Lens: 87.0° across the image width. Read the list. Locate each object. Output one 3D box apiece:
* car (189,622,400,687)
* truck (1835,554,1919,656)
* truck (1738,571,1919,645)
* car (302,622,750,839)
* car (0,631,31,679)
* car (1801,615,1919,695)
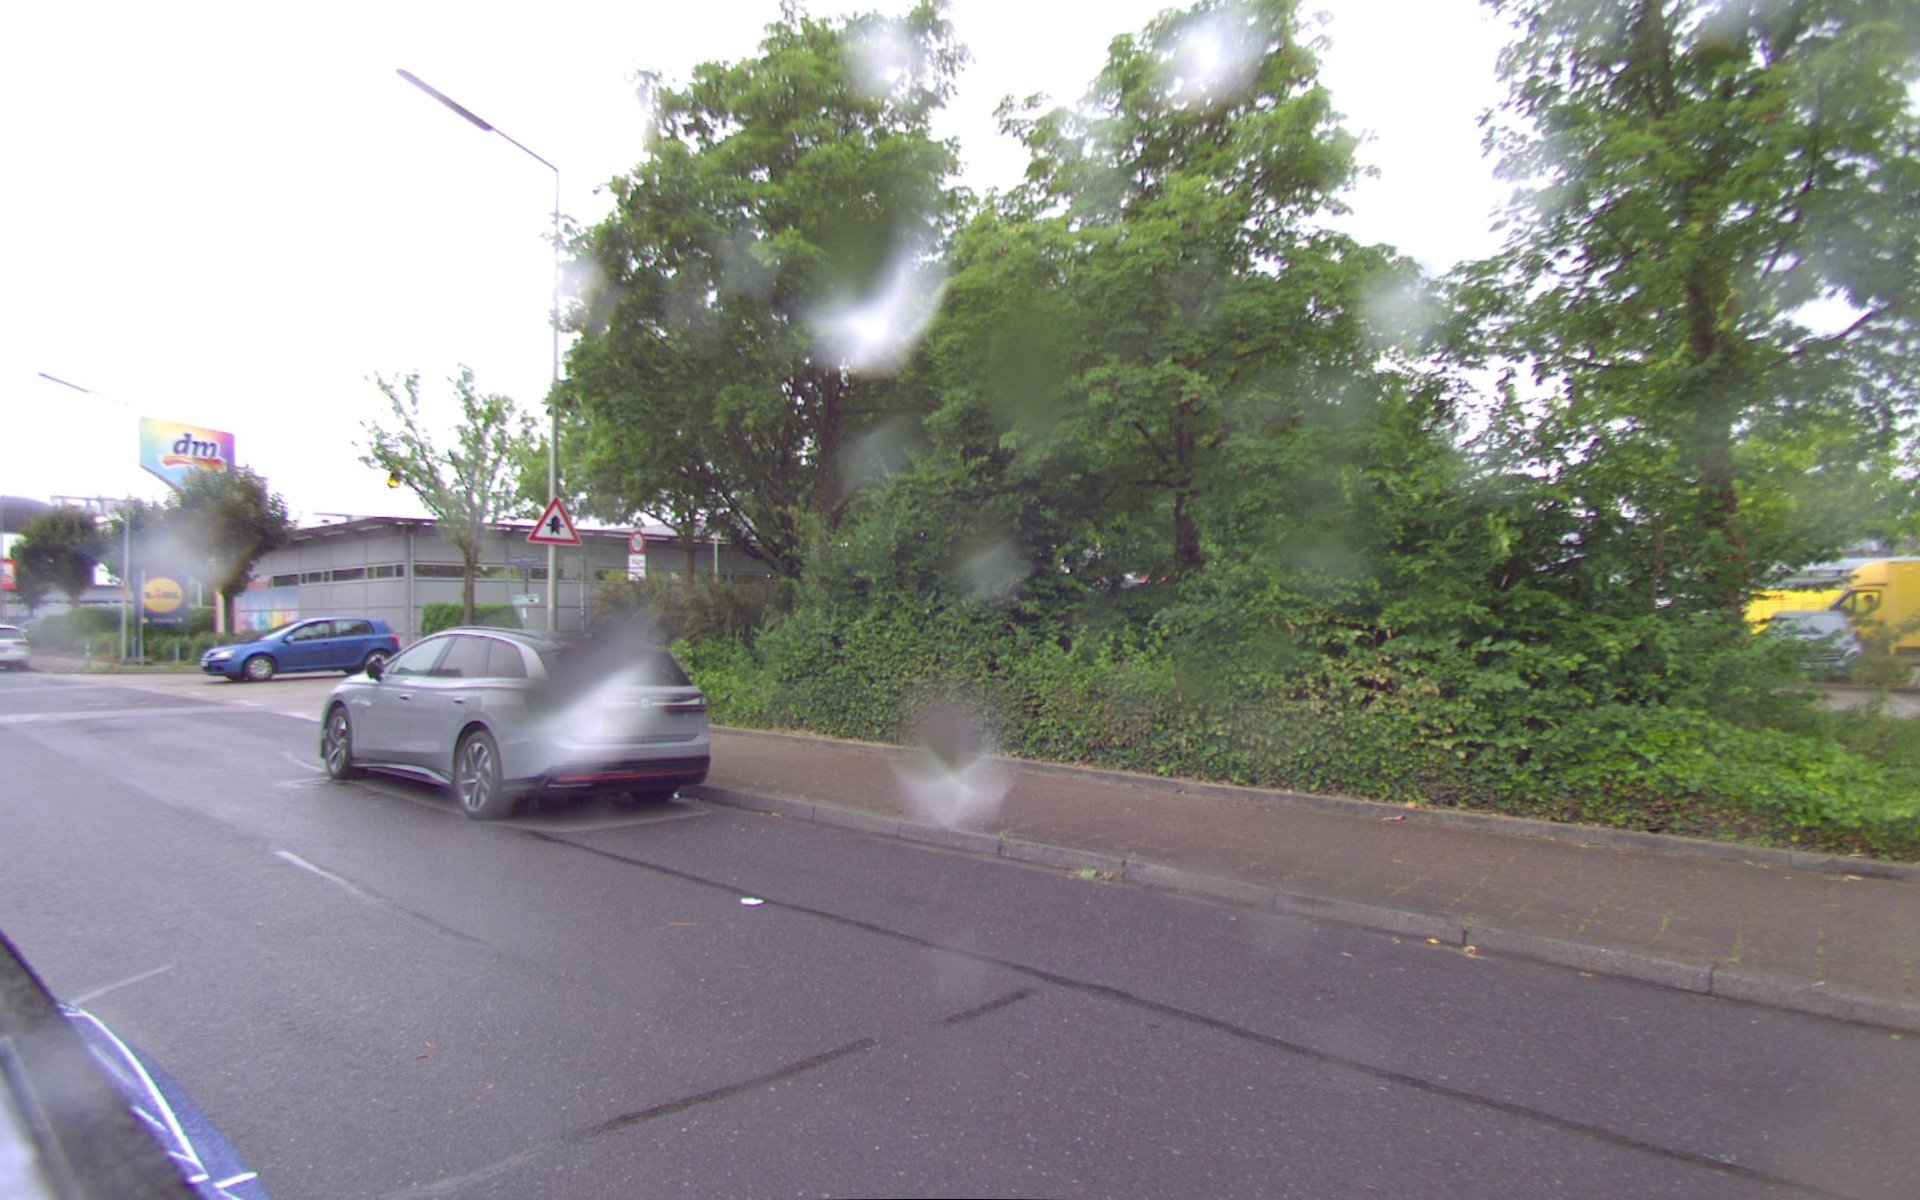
[{"bbox_3d":[-16.100,1.283,24.643,1.734,1.452,3.947,-2,-2,39],"label":"car"},{"bbox_3d":[26.663,0.109,25.909,6.394,2.621,1.972,-1,-2,42],"label":"truck"},{"bbox_3d":[27.418,0.259,30.593,6.125,2.110,1.974,-1,-1,38],"label":"truck"},{"bbox_3d":[-4.215,1.029,9.447,4.743,1.540,1.791,-1,-5,39],"label":"car"},{"bbox_3d":[-30.871,1.696,31.842,4.488,1.445,1.817,-1,-3,40],"label":"car"},{"bbox_3d":[18.278,1.030,20.256,2.000,1.431,3.943,-2,-1,43],"label":"car"}]
